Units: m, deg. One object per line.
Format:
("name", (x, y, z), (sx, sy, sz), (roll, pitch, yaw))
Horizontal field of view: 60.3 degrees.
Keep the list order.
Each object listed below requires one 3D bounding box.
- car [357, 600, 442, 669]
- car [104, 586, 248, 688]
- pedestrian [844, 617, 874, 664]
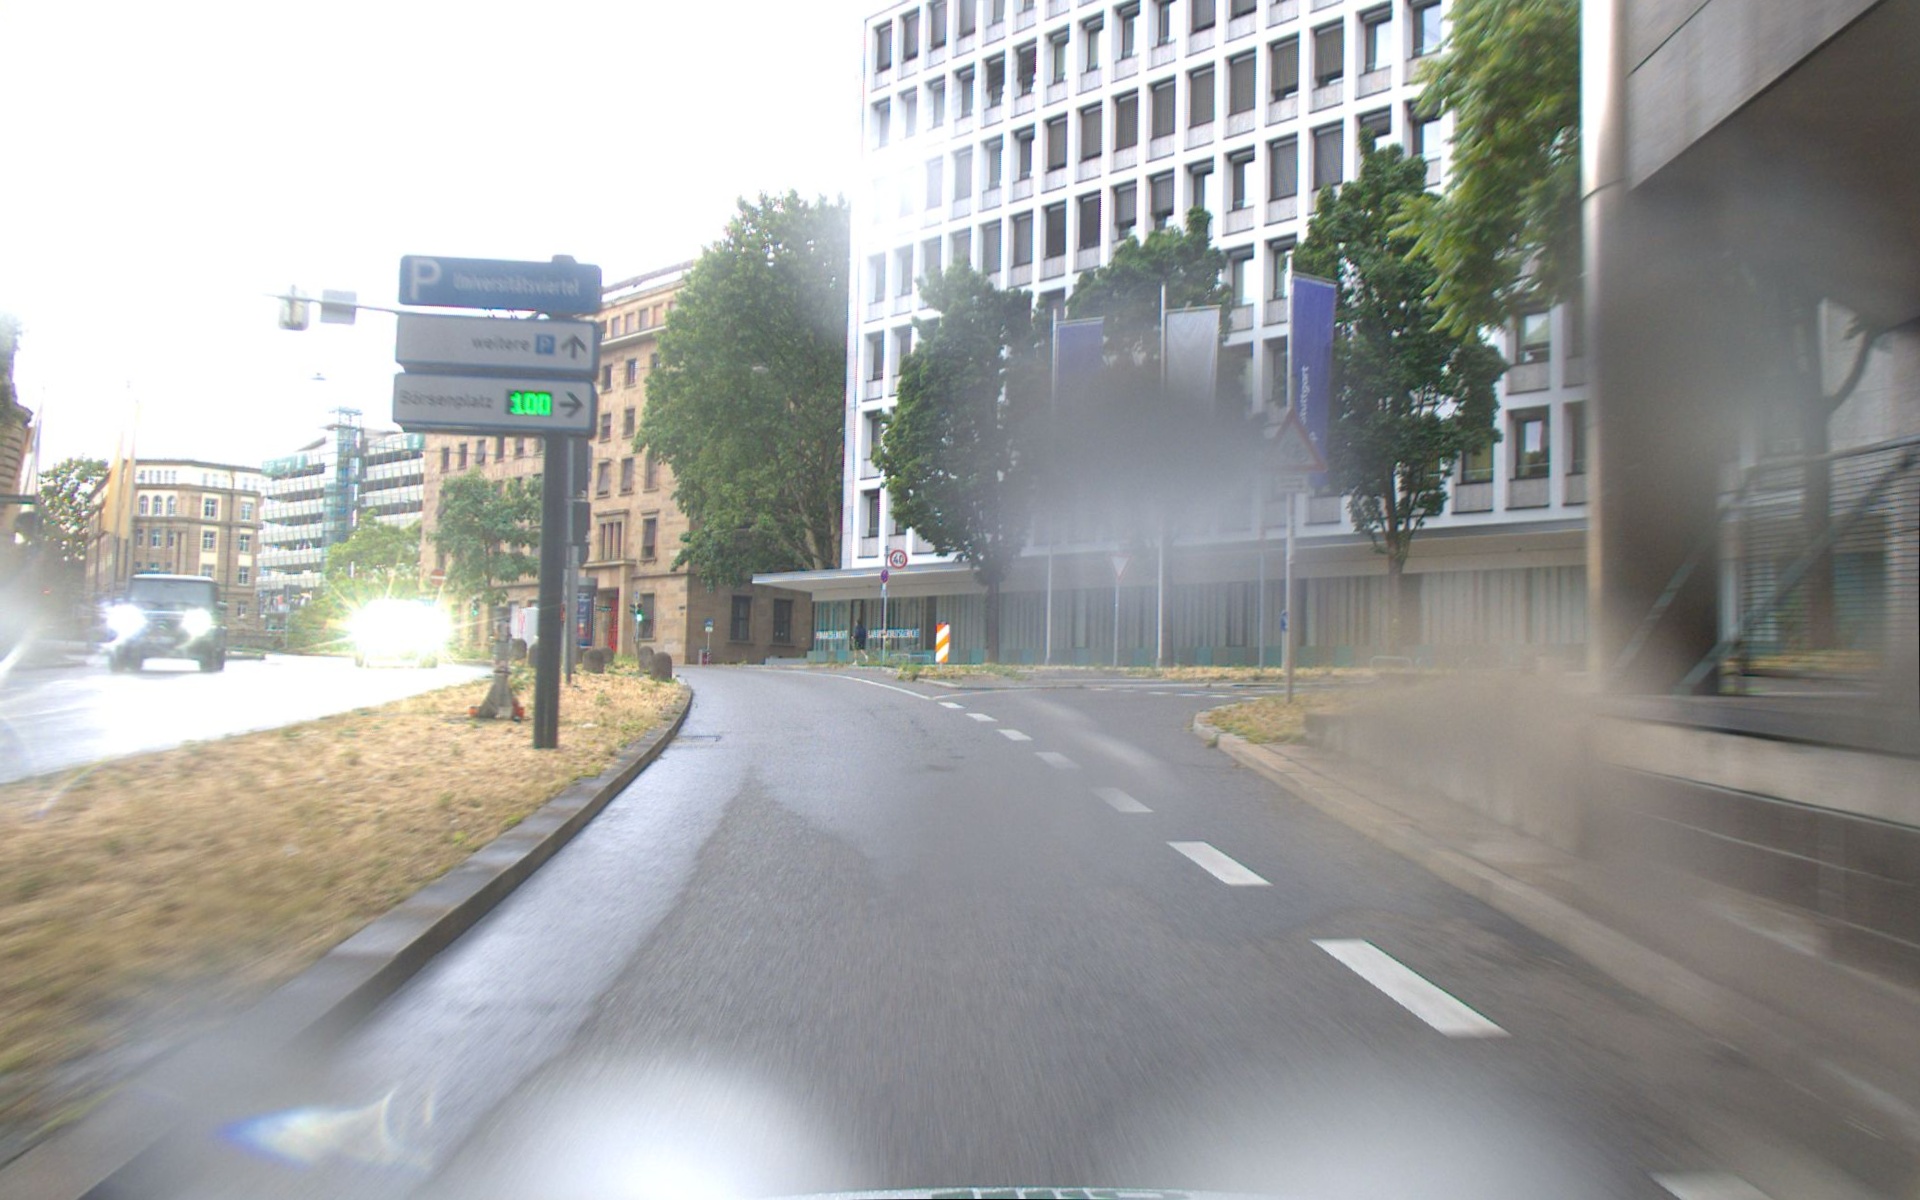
("car", (-13.891, 0.808, 40.878), (1.819, 1.616, 4.361), (0, 0, -21))
("car", (-16.022, 0.710, 34.017), (1.806, 1.955, 4.624), (0, 0, -14))
("pedestrian", (-3.920, 1.578, 64.195), (0.774, 1.803, 0.851), (4, -4, -38))
